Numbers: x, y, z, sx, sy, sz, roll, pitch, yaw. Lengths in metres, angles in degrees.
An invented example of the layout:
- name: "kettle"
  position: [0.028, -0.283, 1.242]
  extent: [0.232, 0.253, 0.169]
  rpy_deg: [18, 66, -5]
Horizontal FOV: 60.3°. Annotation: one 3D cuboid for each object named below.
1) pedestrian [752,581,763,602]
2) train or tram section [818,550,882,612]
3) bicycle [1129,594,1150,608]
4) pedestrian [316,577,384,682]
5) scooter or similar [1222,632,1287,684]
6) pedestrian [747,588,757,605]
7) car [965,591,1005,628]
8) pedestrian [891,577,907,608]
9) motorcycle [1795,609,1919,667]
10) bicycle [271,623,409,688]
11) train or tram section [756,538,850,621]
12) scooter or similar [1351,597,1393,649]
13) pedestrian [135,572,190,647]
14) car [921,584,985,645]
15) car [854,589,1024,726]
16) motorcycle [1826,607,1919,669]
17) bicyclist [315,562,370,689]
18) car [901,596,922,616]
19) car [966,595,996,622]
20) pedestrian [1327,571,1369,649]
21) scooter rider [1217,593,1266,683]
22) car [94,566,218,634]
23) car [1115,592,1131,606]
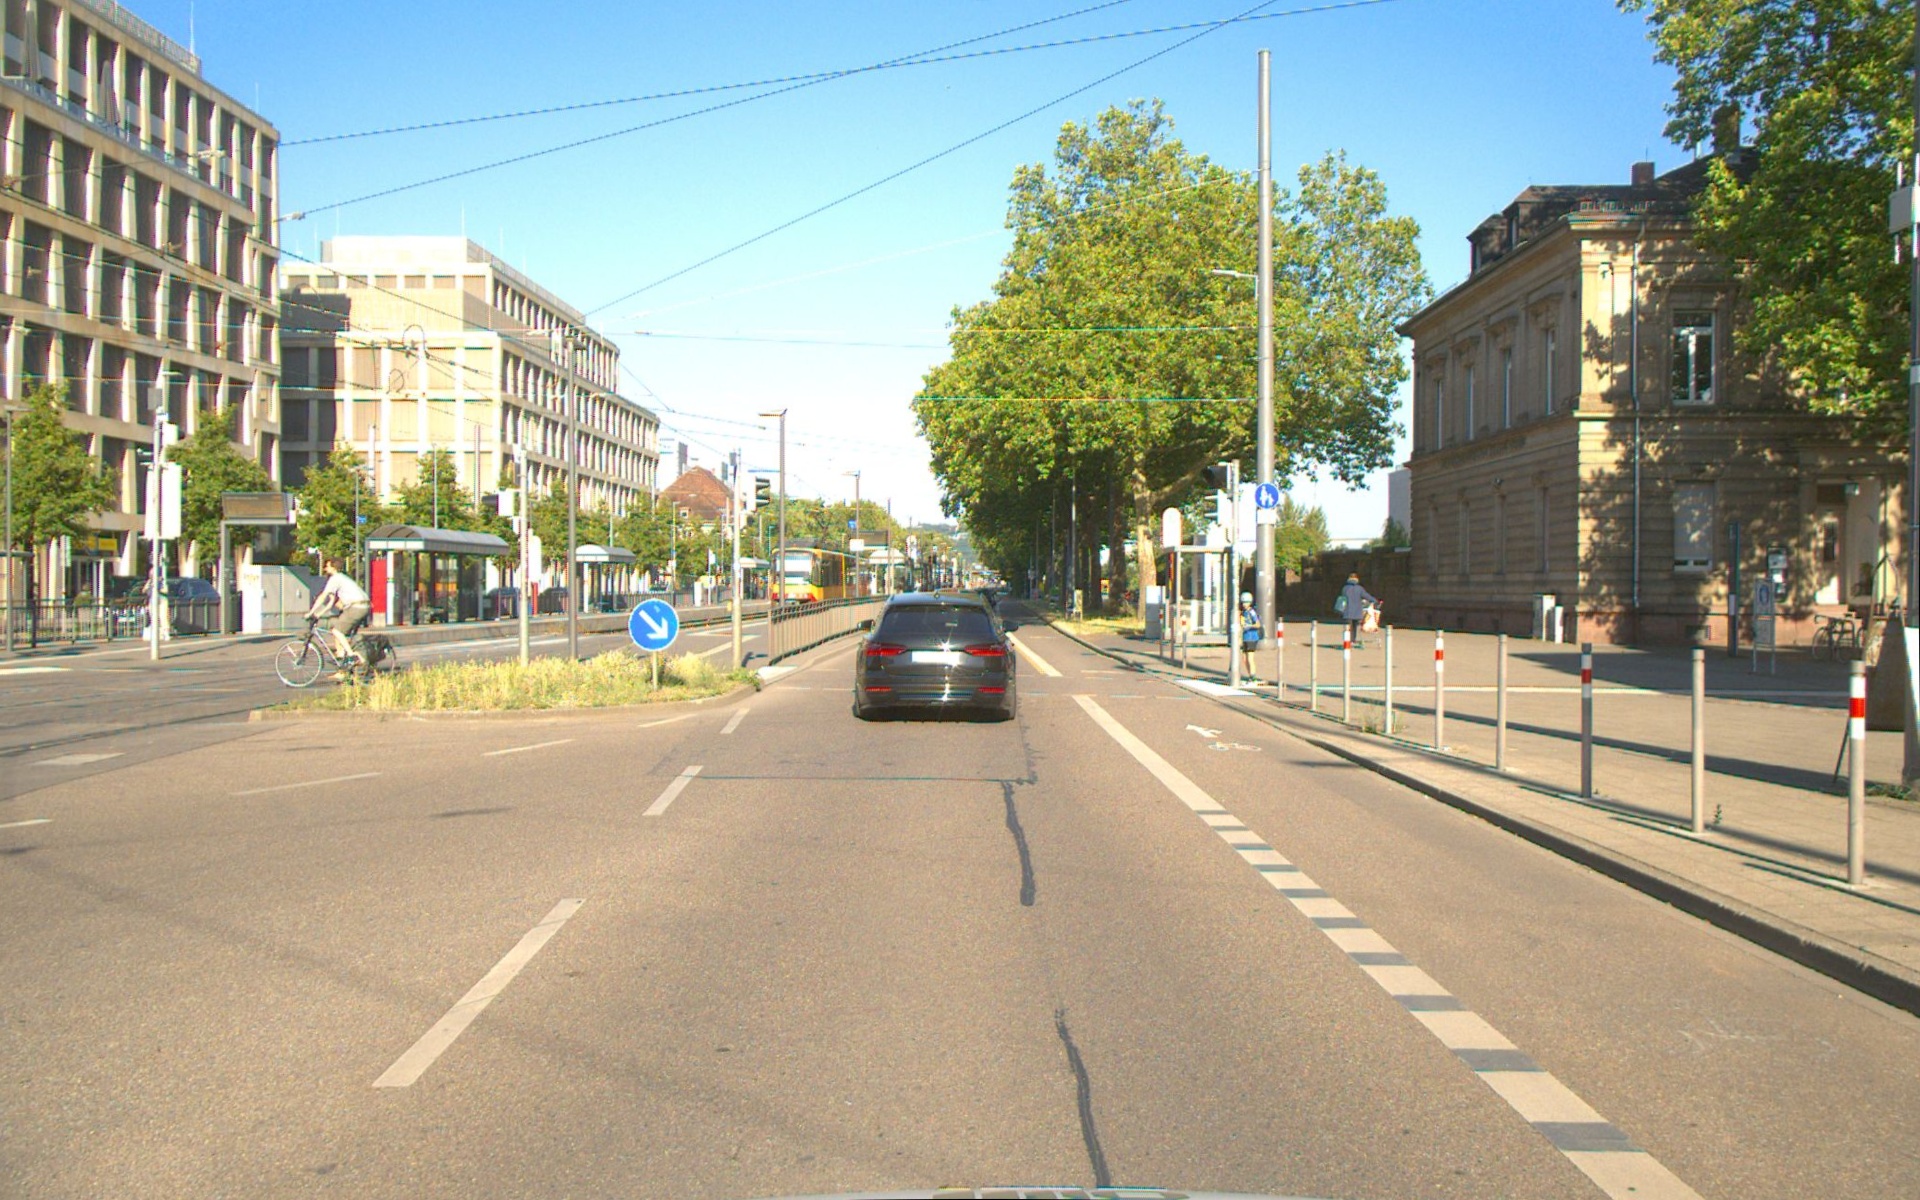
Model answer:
- name: "pedestrian"
  position: [-15.300, -0.653, 124.878]
  extent: [0.601, 1.554, 0.725]
  rpy_deg: [0, 0, 10]
- name: "train or tram section"
  position: [-7.219, -1.219, 110.373]
  extent: [3.240, 3.896, 11.845]
  rpy_deg: [0, 0, 1]
- name: "bicycle"
  position: [15.419, 0.086, 141.895]
  extent: [1.736, 1.140, 0.439]
  rpy_deg: [-1, 0, 0]
- name: "pedestrian"
  position: [-9.898, 0.462, 26.856]
  extent: [0.913, 1.673, 0.794]
  rpy_deg: [0, 0, -12]
- name: "scooter or similar"
  position: [4.747, 0.935, 26.678]
  extent: [1.000, 0.825, 0.265]
  rpy_deg: [0, 0, 1]
- name: "pedestrian"
  position: [-15.353, -0.260, 122.188]
  extent: [0.601, 1.282, 0.725]
  rpy_deg: [0, 0, 5]
- name: "car"
  position: [1.109, 0.423, 75.367]
  extent: [1.727, 1.647, 3.999]
  rpy_deg: [0, 0, -1]
- name: "pedestrian"
  position: [-2.983, -0.369, 80.662]
  extent: [0.730, 1.535, 0.666]
  rpy_deg: [0, 0, 4]
- name: "motorcycle"
  position: [18.251, 0.763, 33.674]
  extent: [2.032, 1.122, 0.887]
  rpy_deg: [1, 0, 8]
- name: "bicycle"
  position: [-9.154, 0.808, 24.455]
  extent: [1.850, 0.927, 0.512]
  rpy_deg: [0, 0, -13]
- name: "train or tram section"
  position: [-7.960, -0.990, 85.950]
  extent: [3.240, 3.896, 14.221]
  rpy_deg: [0, 0, 1]
- name: "scooter or similar"
  position: [9.516, 0.526, 38.234]
  extent: [0.704, 1.176, 0.759]
  rpy_deg: [-2, 0, -5]
- name: "pedestrian"
  position: [-18.104, 0.203, 37.565]
  extent: [0.777, 1.673, 0.933]
  rpy_deg: [0, 0, 2]
- name: "car"
  position: [-0.219, 0.391, 46.889]
  extent: [1.727, 1.647, 3.999]
  rpy_deg: [0, 0, -1]
- name: "car"
  position: [-0.256, 0.612, 19.618]
  extent: [1.840, 1.482, 3.356]
  rpy_deg: [0, 0, -1]
- name: "motorcycle"
  position: [18.475, 0.756, 32.745]
  extent: [2.172, 1.180, 0.887]
  rpy_deg: [1, 0, 8]
- name: "bicyclist"
  position: [-9.126, 0.369, 24.461]
  extent: [0.654, 1.839, 0.645]
  rpy_deg: [0, 0, -12]
- name: "car"
  position: [-4.096, 0.499, 140.508]
  extent: [1.727, 1.647, 3.999]
  rpy_deg: [0, 0, -1]
- name: "car"
  position: [1.264, 0.497, 101.877]
  extent: [1.727, 1.647, 3.999]
  rpy_deg: [0, 0, -1]
- name: "pedestrian"
  position: [8.938, 0.227, 38.082]
  extent: [0.754, 1.775, 0.796]
  rpy_deg: [-2, 0, 25]
- name: "scooter rider"
  position: [4.521, 0.607, 26.579]
  extent: [0.686, 1.421, 0.600]
  rpy_deg: [0, 0, 1]
- name: "car"
  position: [-25.089, -0.025, 51.765]
  extent: [1.953, 2.049, 3.999]
  rpy_deg: [0, 0, -1]
- name: "car"
  position: [18.221, -0.067, 184.890]
  extent: [1.581, 1.542, 3.804]
  rpy_deg: [0, 0, 2]
